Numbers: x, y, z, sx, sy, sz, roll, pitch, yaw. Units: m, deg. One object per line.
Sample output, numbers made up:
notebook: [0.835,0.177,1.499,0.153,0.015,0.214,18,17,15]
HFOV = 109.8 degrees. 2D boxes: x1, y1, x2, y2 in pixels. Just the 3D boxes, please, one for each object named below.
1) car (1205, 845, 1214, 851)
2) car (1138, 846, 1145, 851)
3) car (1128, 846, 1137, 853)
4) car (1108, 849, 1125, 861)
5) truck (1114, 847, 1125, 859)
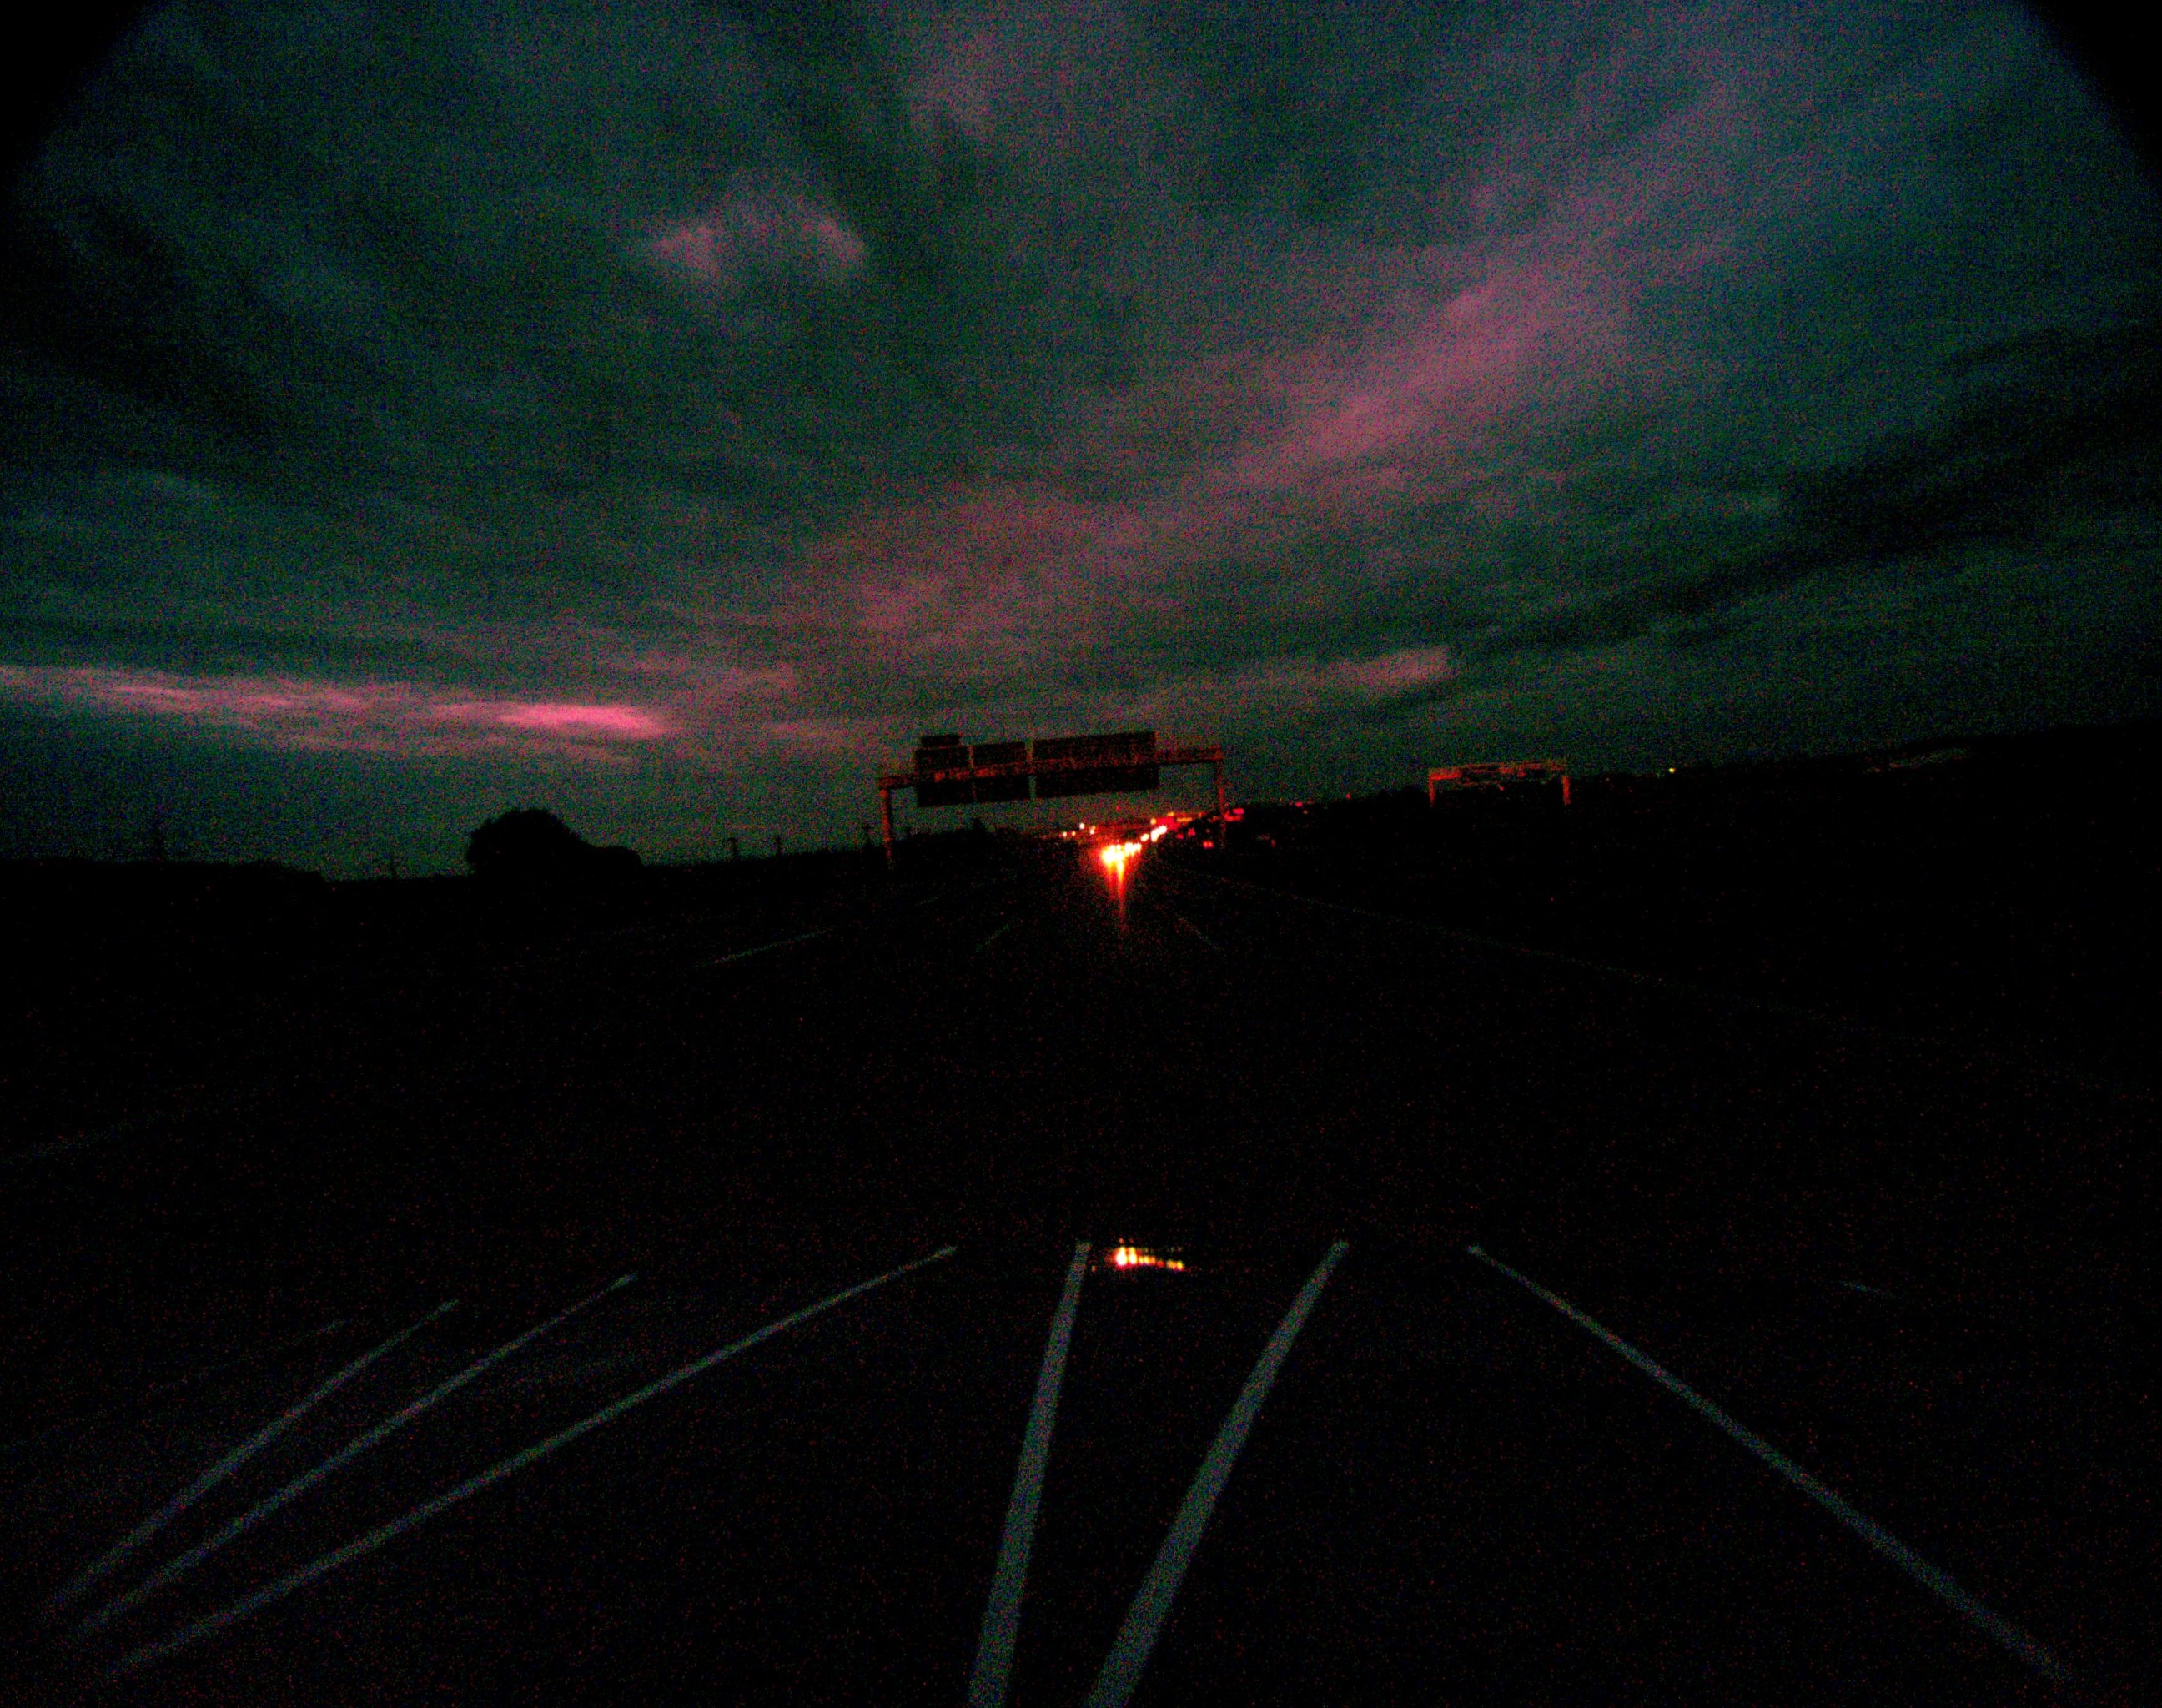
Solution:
car: [35.255,-1.622,208.752,1.997,1.396,4.331,-3,1,7]
car: [19.504,-1.748,246.111,1.997,1.341,4.177,-2,0,7]
car: [13.427,-1.182,198.091,1.998,1.342,4.176,-5,1,5]
car: [4.342,0.101,92.876,1.998,1.342,4.175,0,2,4]
truck: [13.414,-0.382,264.315,3.058,4.047,10.525,-2,0,7]
